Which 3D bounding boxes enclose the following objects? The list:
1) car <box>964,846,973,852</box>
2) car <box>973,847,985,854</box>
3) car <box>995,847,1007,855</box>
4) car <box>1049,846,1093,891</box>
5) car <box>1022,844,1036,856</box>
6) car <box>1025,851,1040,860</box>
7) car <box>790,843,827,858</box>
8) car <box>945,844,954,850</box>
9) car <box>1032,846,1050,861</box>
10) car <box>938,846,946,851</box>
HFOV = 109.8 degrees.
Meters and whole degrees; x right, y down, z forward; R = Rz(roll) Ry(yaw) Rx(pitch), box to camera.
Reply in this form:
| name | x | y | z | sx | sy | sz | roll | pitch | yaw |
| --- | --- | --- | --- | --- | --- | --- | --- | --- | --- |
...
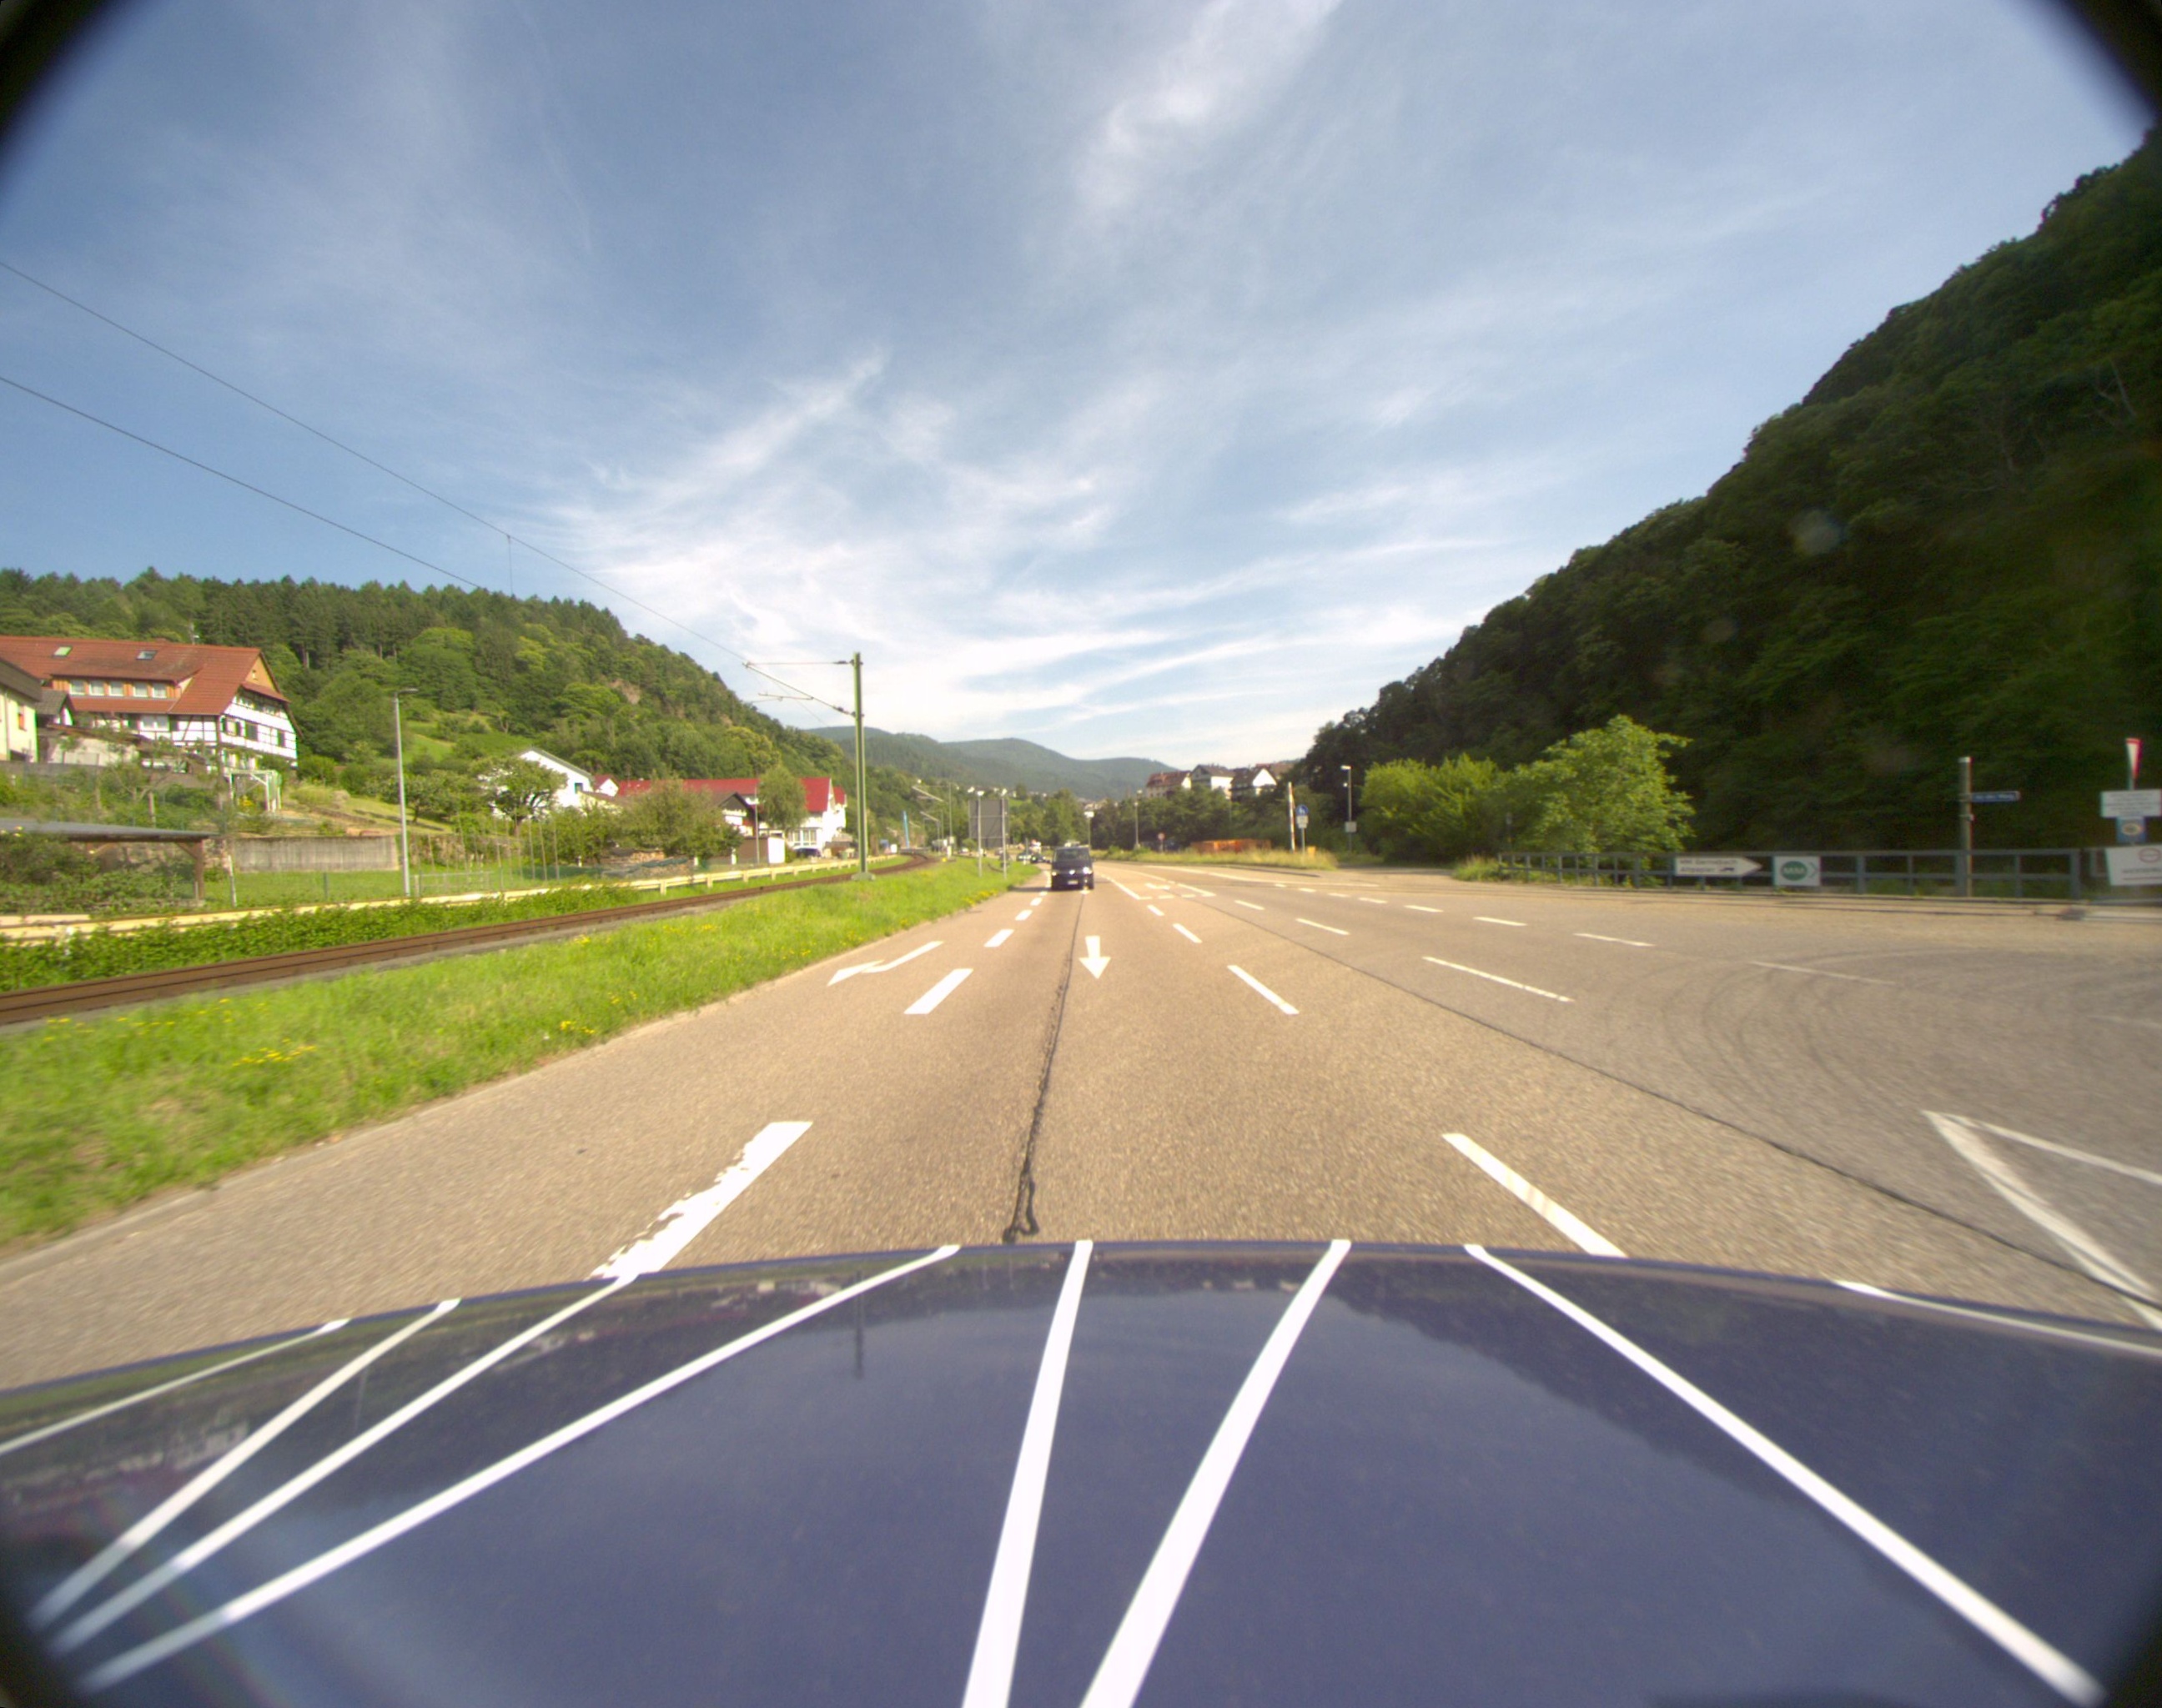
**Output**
| name | x | y | z | sx | sy | sz | roll | pitch | yaw |
| --- | --- | --- | --- | --- | --- | --- | --- | --- | --- |
| car | -32.123 | -1.498 | 217.198 | 1.726 | 1.652 | 3.993 | -3 | 1 | -18 |
| car | -26.245 | -0.905 | 195.543 | 2.002 | 1.652 | 3.993 | -3 | 1 | -20 |
| car | -18.536 | -0.734 | 176.309 | 1.871 | 1.652 | 3.993 | -3 | 1 | -19 |
| car | -0.407 | 0.602 | 35.031 | 1.865 | 1.936 | 4.637 | 0 | 1 | 1 |
| car | -8.504 | -0.664 | 123.966 | 1.729 | 1.815 | 3.849 | -2 | 1 | -9 |
| car | -9.354 | 0.216 | 145.085 | 2.001 | 1.652 | 3.994 | -2 | 1 | -15 |
| car | -34.603 | -0.461 | 96.450 | 3.998 | 1.762 | 1.830 | -2 | 1 | -4 |
| car | -41.110 | -2.210 | 237.995 | 2.002 | 1.652 | 3.993 | -3 | 1 | -20 |
| car | -5.451 | -0.060 | 103.572 | 2.000 | 2.002 | 3.997 | -1 | 1 | -8 |
| car | -45.105 | -1.711 | 247.264 | 1.897 | 1.652 | 3.993 | -3 | 1 | -20 |
